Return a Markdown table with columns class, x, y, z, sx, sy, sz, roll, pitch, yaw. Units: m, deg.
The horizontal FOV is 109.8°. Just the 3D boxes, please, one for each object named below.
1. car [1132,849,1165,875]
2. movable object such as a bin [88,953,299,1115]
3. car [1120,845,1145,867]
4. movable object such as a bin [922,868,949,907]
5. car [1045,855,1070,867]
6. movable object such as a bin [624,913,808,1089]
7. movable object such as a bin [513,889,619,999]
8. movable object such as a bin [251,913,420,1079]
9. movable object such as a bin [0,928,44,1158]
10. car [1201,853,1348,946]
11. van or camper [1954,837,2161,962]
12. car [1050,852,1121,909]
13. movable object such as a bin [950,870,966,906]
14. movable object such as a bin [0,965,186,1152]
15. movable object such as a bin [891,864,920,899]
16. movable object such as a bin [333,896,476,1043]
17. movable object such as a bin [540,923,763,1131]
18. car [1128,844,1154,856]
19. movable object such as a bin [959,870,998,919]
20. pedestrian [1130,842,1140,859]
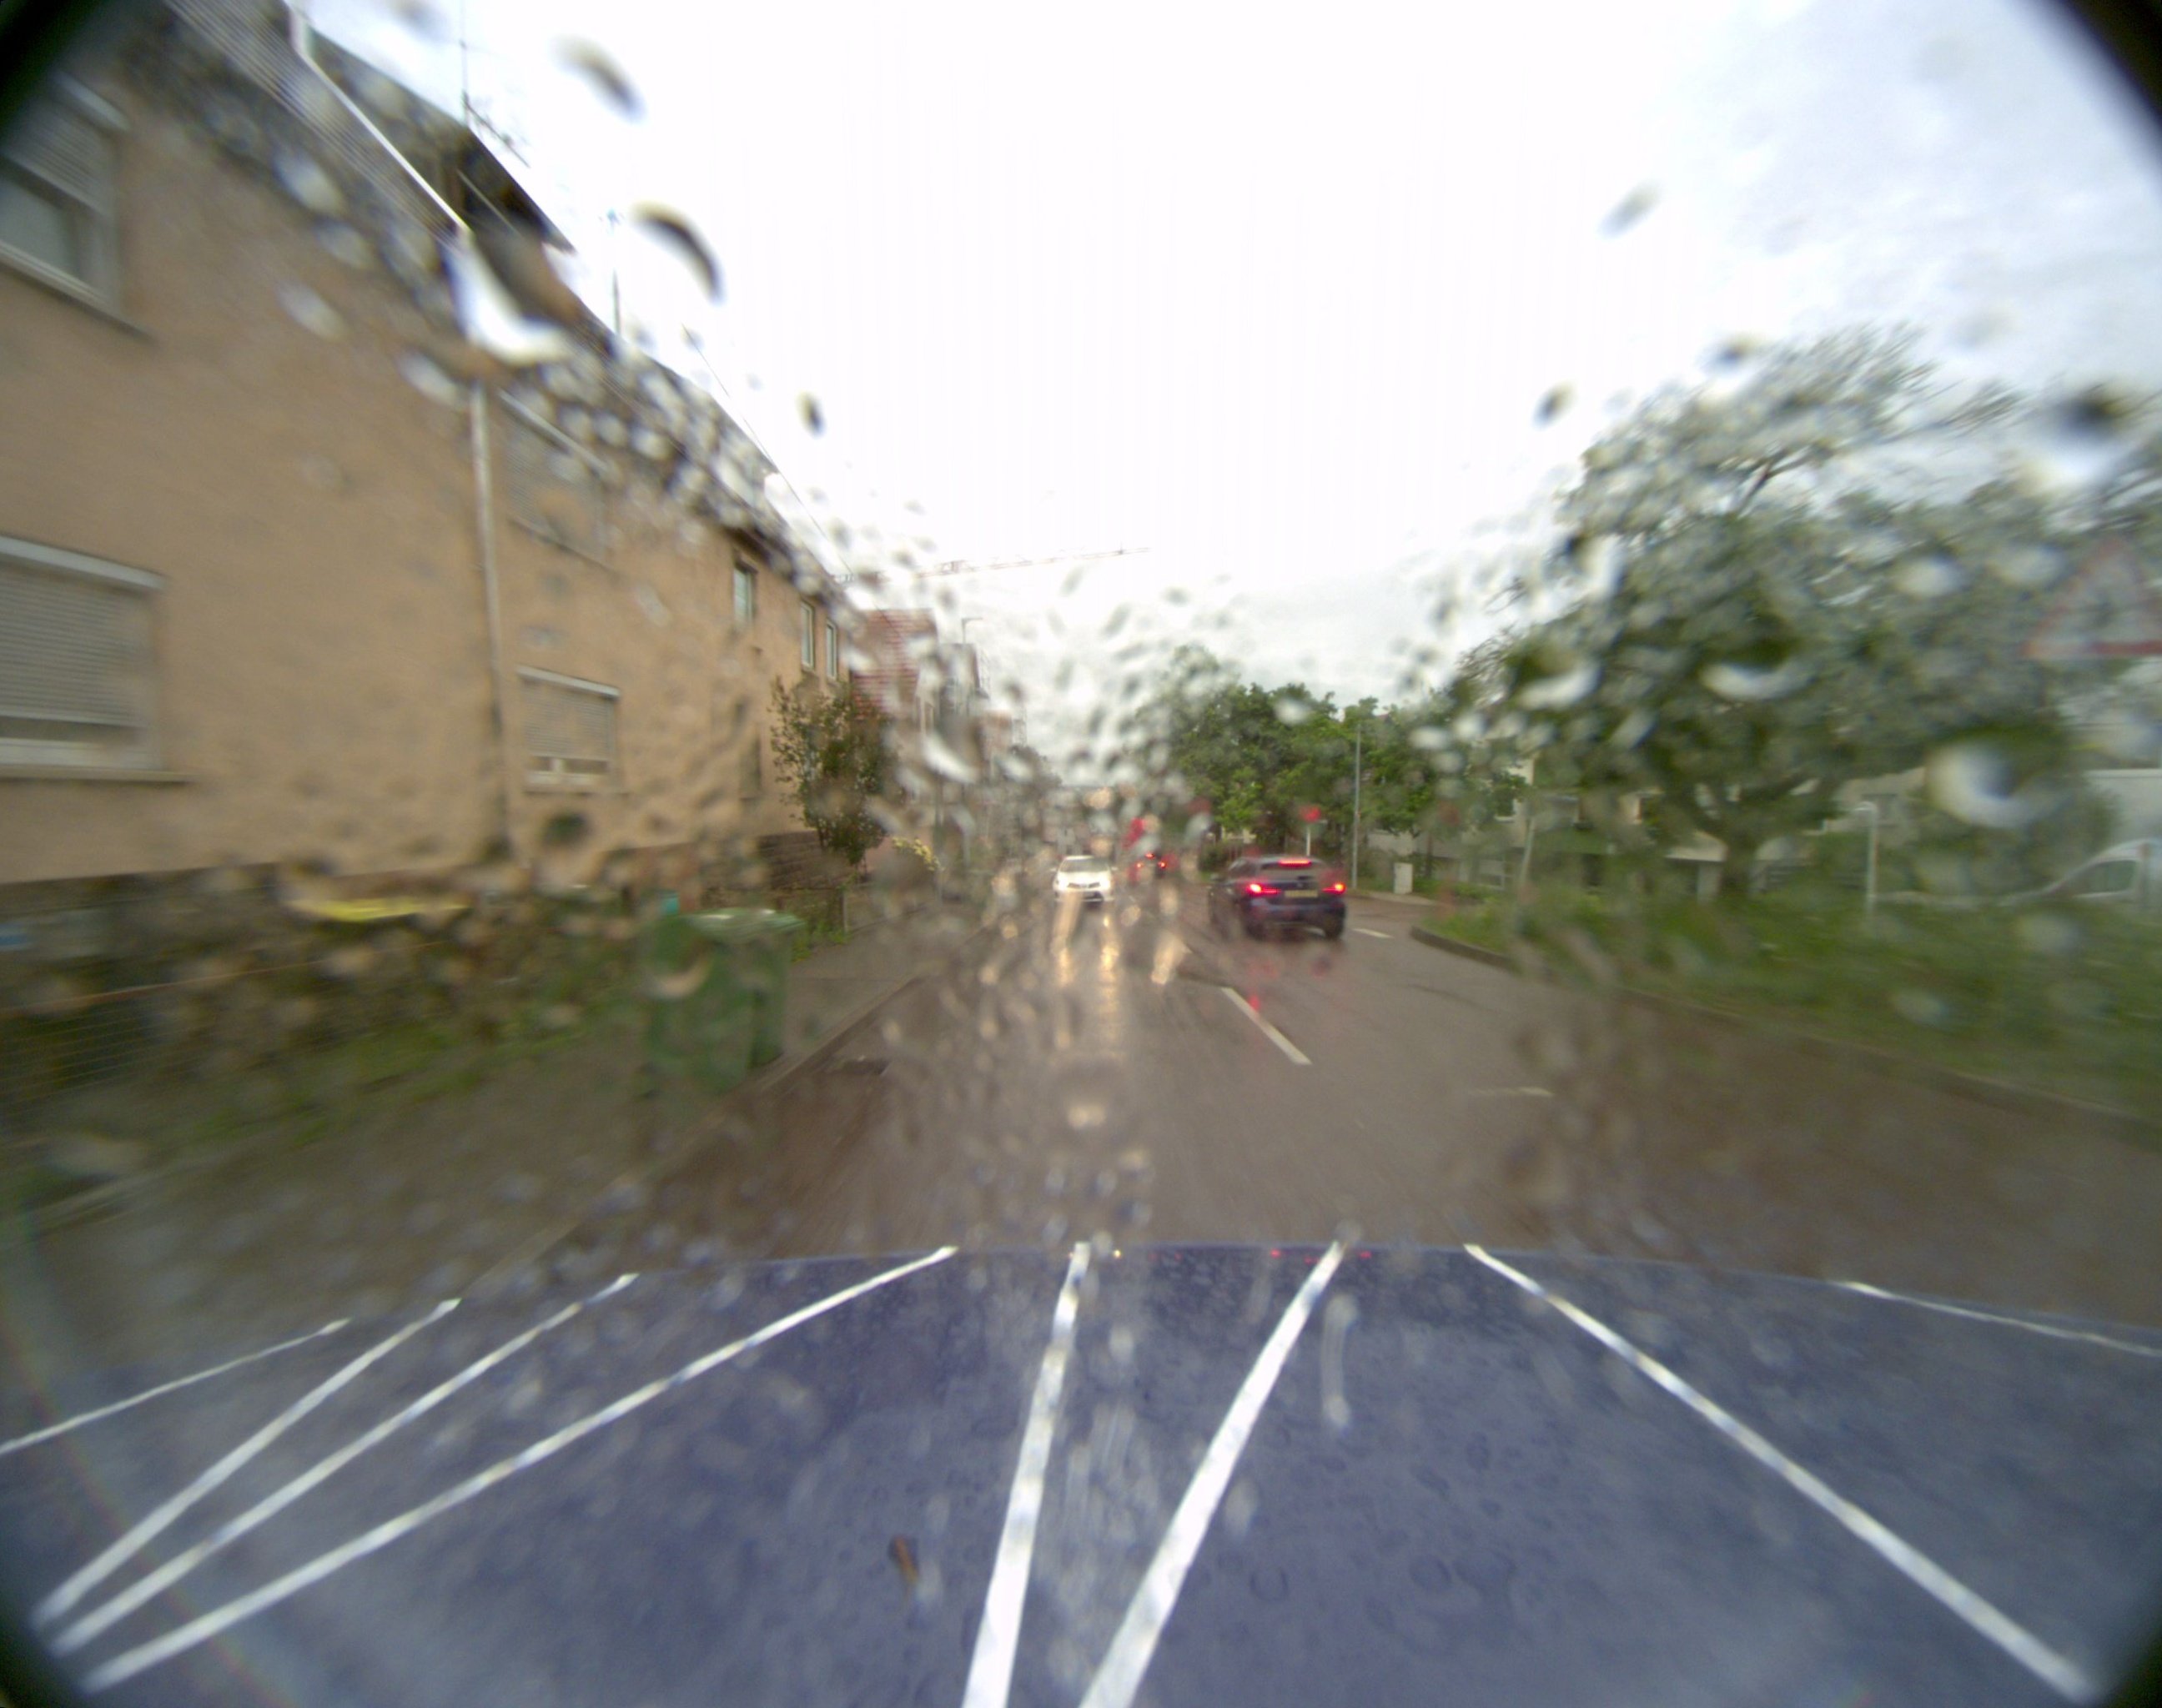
| class | x | y | z | sx | sy | sz | roll | pitch | yaw |
| --- | --- | --- | --- | --- | --- | --- | --- | --- | --- |
| car | 3.916 | 0.423 | 44.438 | 1.564 | 1.446 | 4.084 | -1 | 1 | 1 |
| movable object such as a bin | -5.565 | 1.109 | 4.797 | 0.671 | 0.890 | 0.536 | -1 | 1 | 0 |
| car | 4.209 | 0.134 | 62.797 | 1.755 | 1.679 | 4.375 | -1 | 1 | 0 |
| movable object such as a bin | -4.264 | 0.964 | 22.253 | 0.611 | 1.070 | 0.792 | 2 | 1 | -2 |
| car | -2.892 | 0.821 | 91.874 | 1.772 | 1.432 | 4.056 | -1 | 1 | -21 |
| movable object such as a bin | -2.538 | 1.004 | 5.371 | 0.916 | 1.097 | 0.702 | -1 | 1 | 3 |
| movable object such as a bin | -5.527 | 0.946 | 8.186 | 0.662 | 1.087 | 0.655 | 2 | 1 | -1 |
| movable object such as a bin | -5.442 | 1.015 | 5.576 | 0.662 | 1.087 | 0.545 | 3 | 1 | -1 |
| movable object such as a bin | -5.496 | 0.903 | 3.494 | 0.662 | 1.087 | 0.545 | 3 | 1 | -1 |
| car | 3.390 | 0.723 | 14.036 | 1.723 | 1.421 | 3.844 | -1 | 1 | 0 |
| van or camper | 23.131 | 0.929 | 15.981 | 1.643 | 2.542 | 6.051 | -4 | 2 | -30 |
| car | 0.054 | 0.705 | 22.798 | 1.859 | 1.427 | 4.015 | -2 | 1 | -3 |
| movable object such as a bin | -3.566 | 0.979 | 22.045 | 0.380 | 1.012 | 0.487 | -1 | 1 | 1 |
| movable object such as a bin | -5.623 | 1.109 | 4.221 | 0.639 | 0.890 | 0.536 | -1 | 1 | 0 |
| movable object such as a bin | -5.171 | 0.814 | 22.481 | 0.611 | 0.961 | 0.792 | 5 | 1 | -2 |
| movable object such as a bin | -5.520 | 0.923 | 6.230 | 0.646 | 1.087 | 0.545 | 3 | 1 | -1 |
| movable object such as a bin | -2.565 | 1.011 | 4.624 | 0.916 | 1.097 | 0.702 | -1 | 1 | 3 |
| car | 8.024 | -0.536 | 102.105 | 1.729 | 1.524 | 3.991 | -2 | 1 | -27 |
| movable object such as a bin | -2.310 | 0.904 | 17.175 | 0.721 | 1.046 | 0.800 | -1 | 1 | 3 |
| pedestrian | 5.882 | -0.406 | 82.678 | 0.971 | 1.820 | 0.894 | -1 | 1 | -8 |
